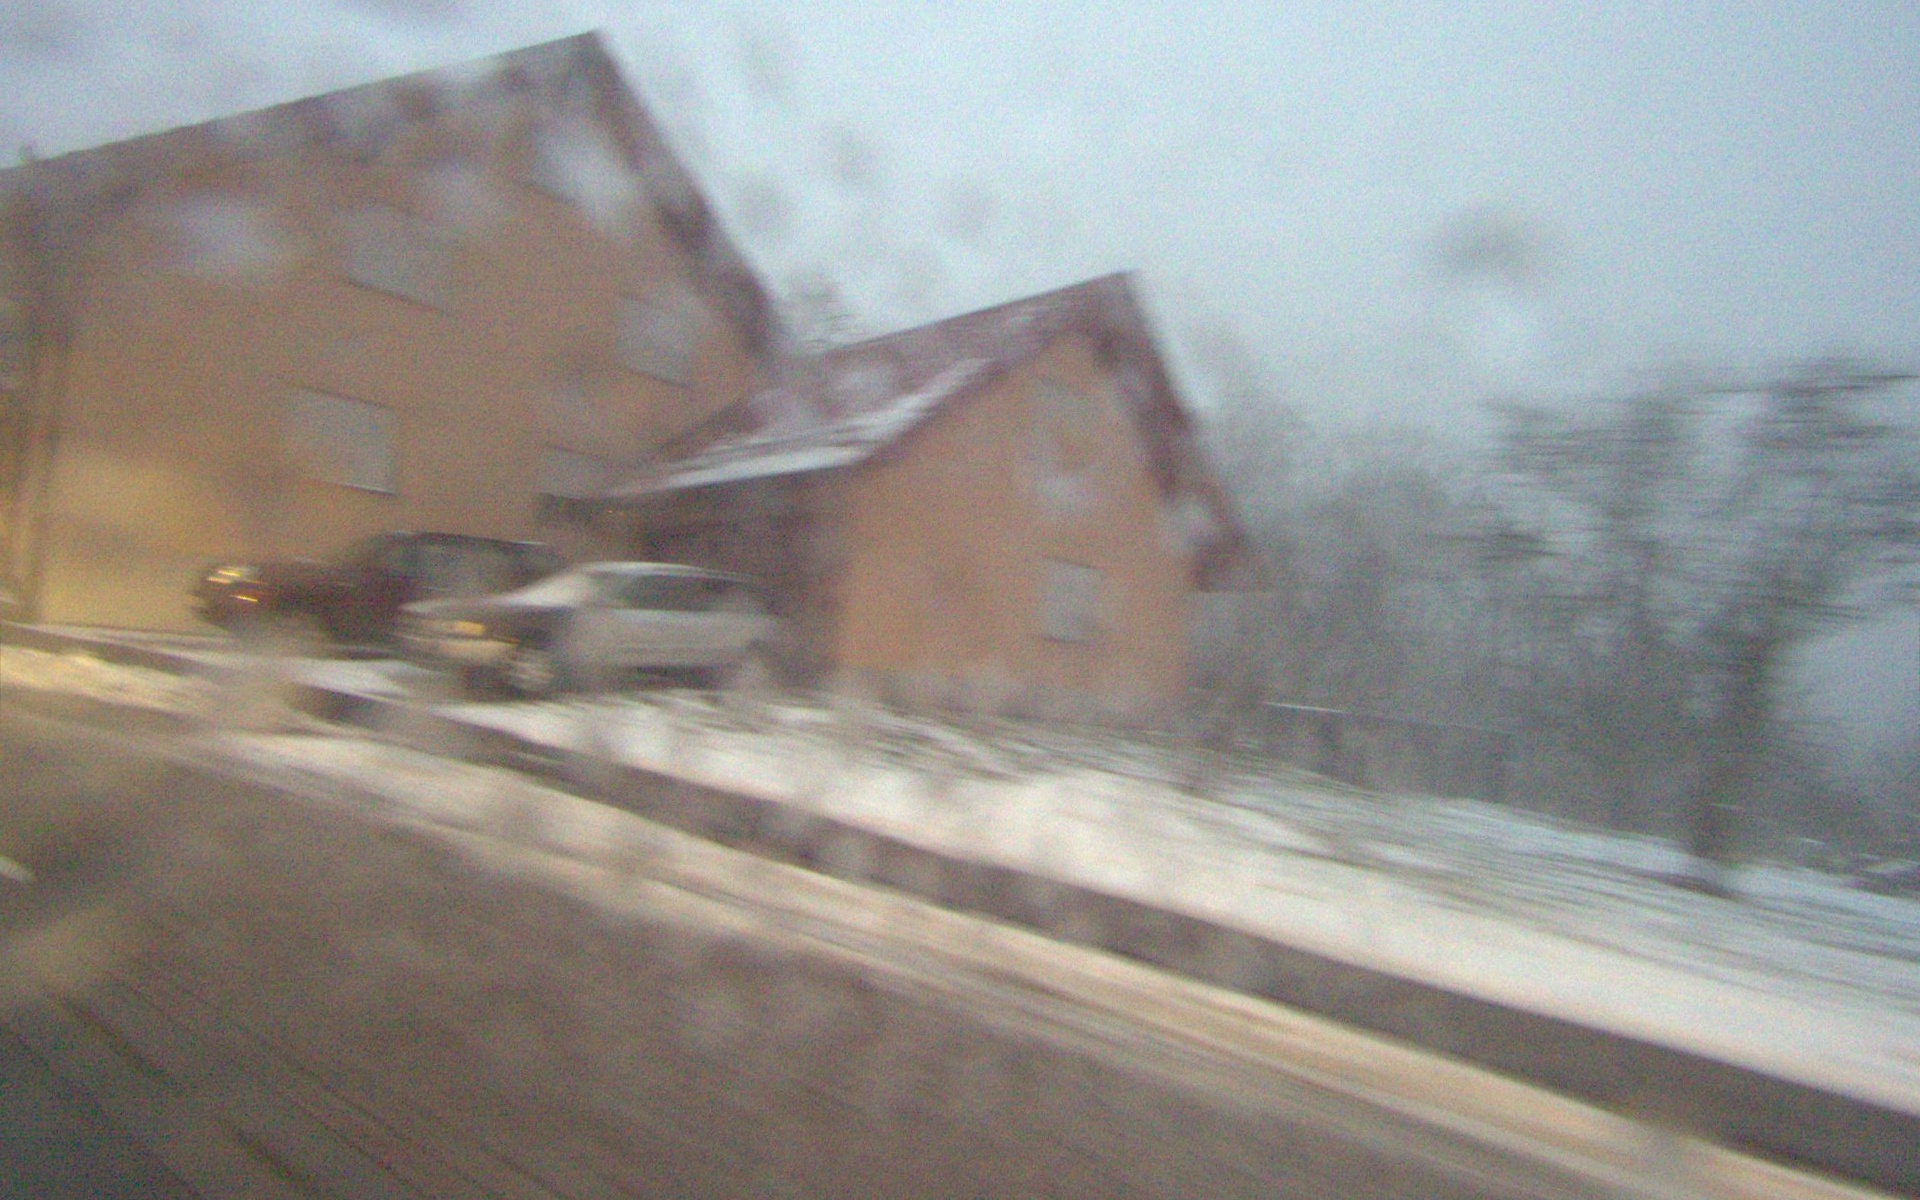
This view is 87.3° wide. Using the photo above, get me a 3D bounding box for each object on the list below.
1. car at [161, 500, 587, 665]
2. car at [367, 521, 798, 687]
[{"bbox_3d":[-7.164,-0.130,12.647,1.919,1.578,4.154,4,-2,40],"label":"car"},{"bbox_3d":[-4.230,0.143,11.732,1.976,1.578,4.229,3,-1,45],"label":"car"}]
